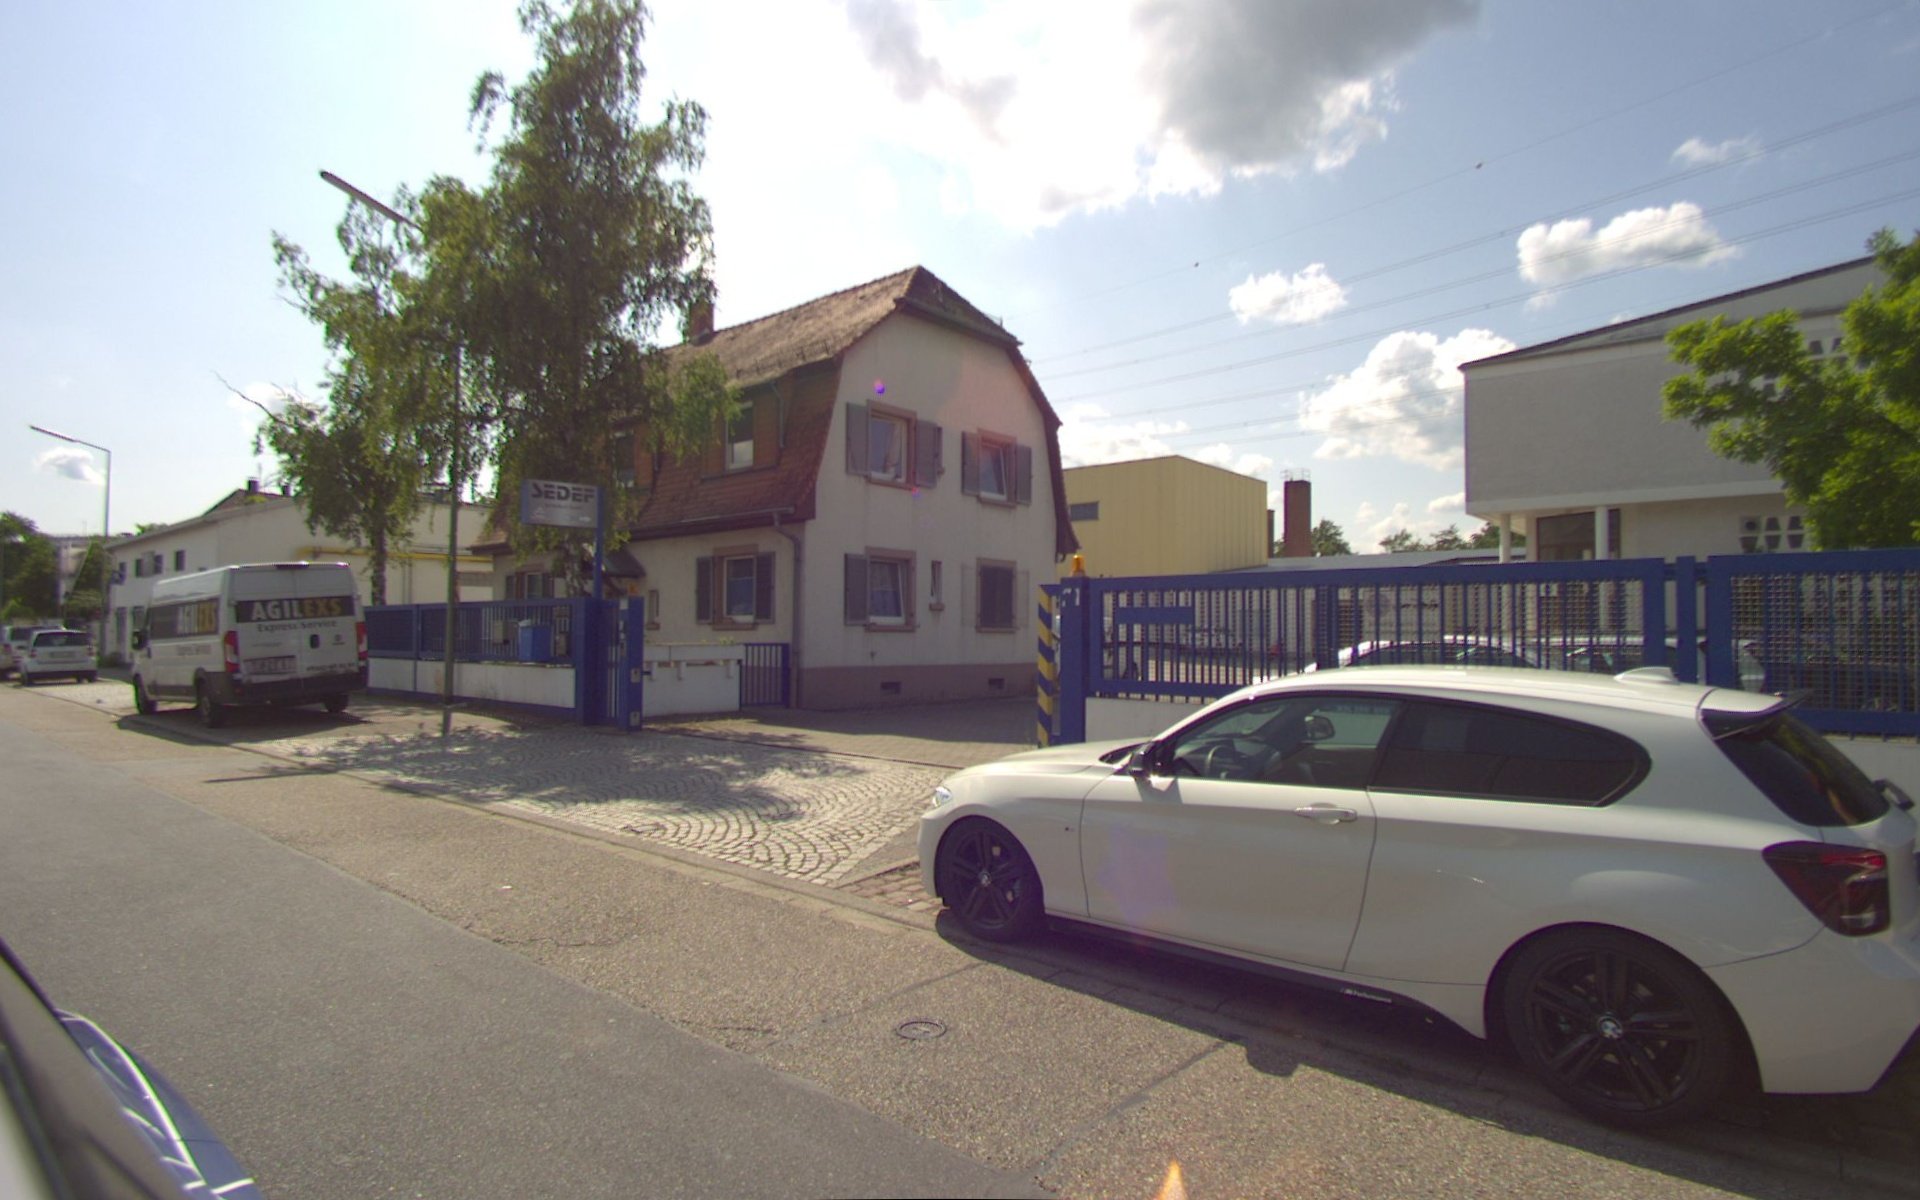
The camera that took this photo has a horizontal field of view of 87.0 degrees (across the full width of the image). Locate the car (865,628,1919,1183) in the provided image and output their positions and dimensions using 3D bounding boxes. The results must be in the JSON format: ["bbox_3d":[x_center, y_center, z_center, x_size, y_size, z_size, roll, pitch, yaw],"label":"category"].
[{"bbox_3d":[1.740,0.874,4.680,4.501,1.408,1.777,-1,0,42],"label":"car"}]

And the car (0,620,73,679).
[{"bbox_3d":[-30.129,1.535,32.549,4.749,1.732,1.772,-1,0,41],"label":"car"}]

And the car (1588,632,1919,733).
[{"bbox_3d":[12.568,1.221,16.251,3.998,1.327,1.827,-1,0,41],"label":"car"}]

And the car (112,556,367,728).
[{"bbox_3d":[-13.009,0.643,18.032,6.650,2.577,2.010,-1,0,39],"label":"car"}]

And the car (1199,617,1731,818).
[{"bbox_3d":[4.565,0.979,9.565,4.142,1.474,1.845,-3,-5,43],"label":"car"}]

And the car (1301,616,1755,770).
[{"bbox_3d":[6.486,1.015,11.910,4.312,1.479,1.779,-4,-4,44],"label":"car"}]

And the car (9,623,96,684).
[{"bbox_3d":[-26.409,1.521,29.429,3.009,1.586,1.592,-2,1,43],"label":"car"}]
